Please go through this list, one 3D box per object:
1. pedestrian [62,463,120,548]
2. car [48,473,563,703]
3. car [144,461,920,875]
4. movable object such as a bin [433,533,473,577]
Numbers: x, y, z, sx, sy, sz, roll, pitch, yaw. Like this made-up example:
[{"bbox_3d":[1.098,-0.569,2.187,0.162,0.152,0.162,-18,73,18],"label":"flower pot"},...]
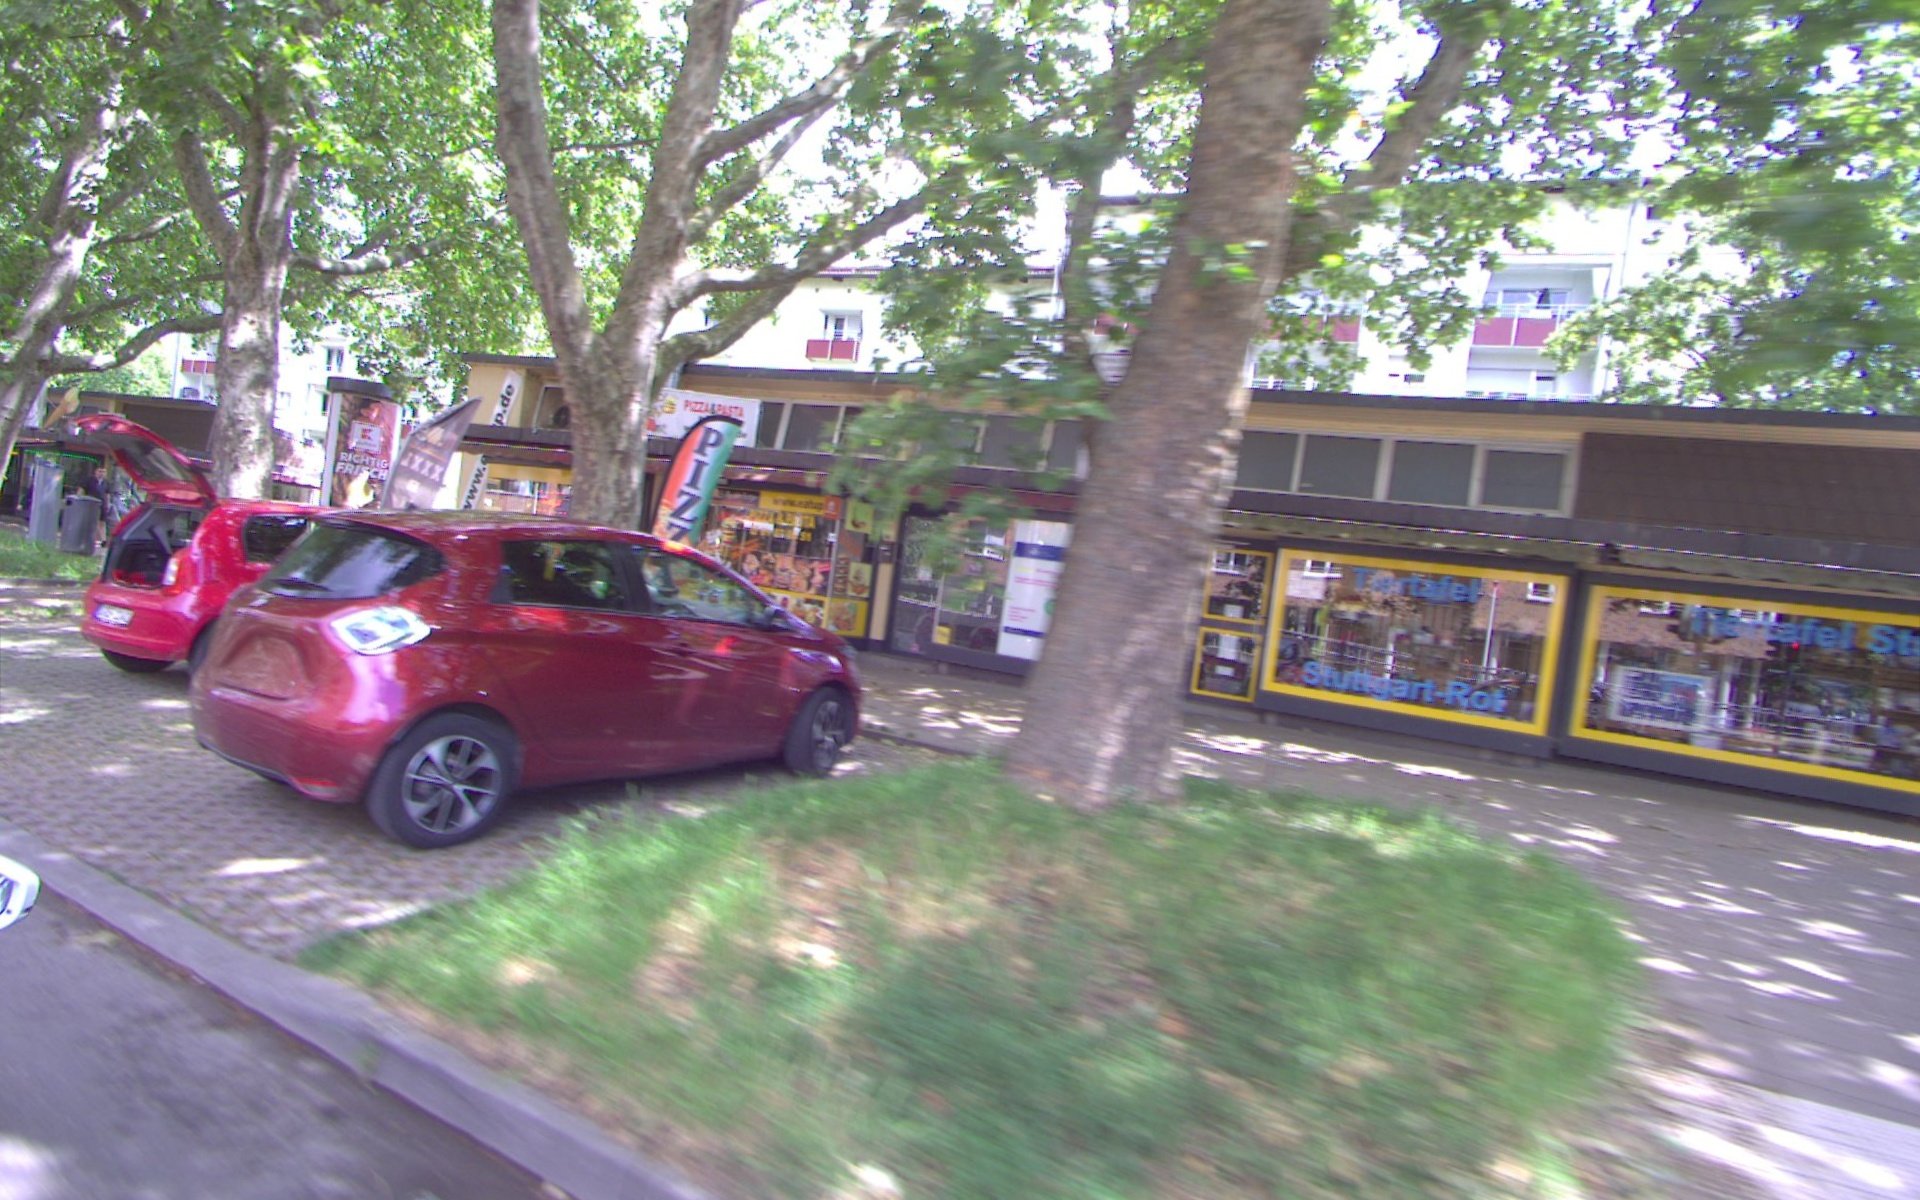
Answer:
[{"bbox_3d":[-20.619,-2.236,23.872,0.926,1.908,0.743,6,3,32],"label":"pedestrian"},{"bbox_3d":[-5.471,-0.103,8.828,1.582,1.535,3.409,7,3,28],"label":"car"},{"bbox_3d":[-2.193,0.257,6.160,1.703,1.633,4.025,7,3,35],"label":"car"},{"bbox_3d":[-13.194,-1.162,26.187,0.636,1.047,0.624,7,1,29],"label":"movable object such as a bin"}]
